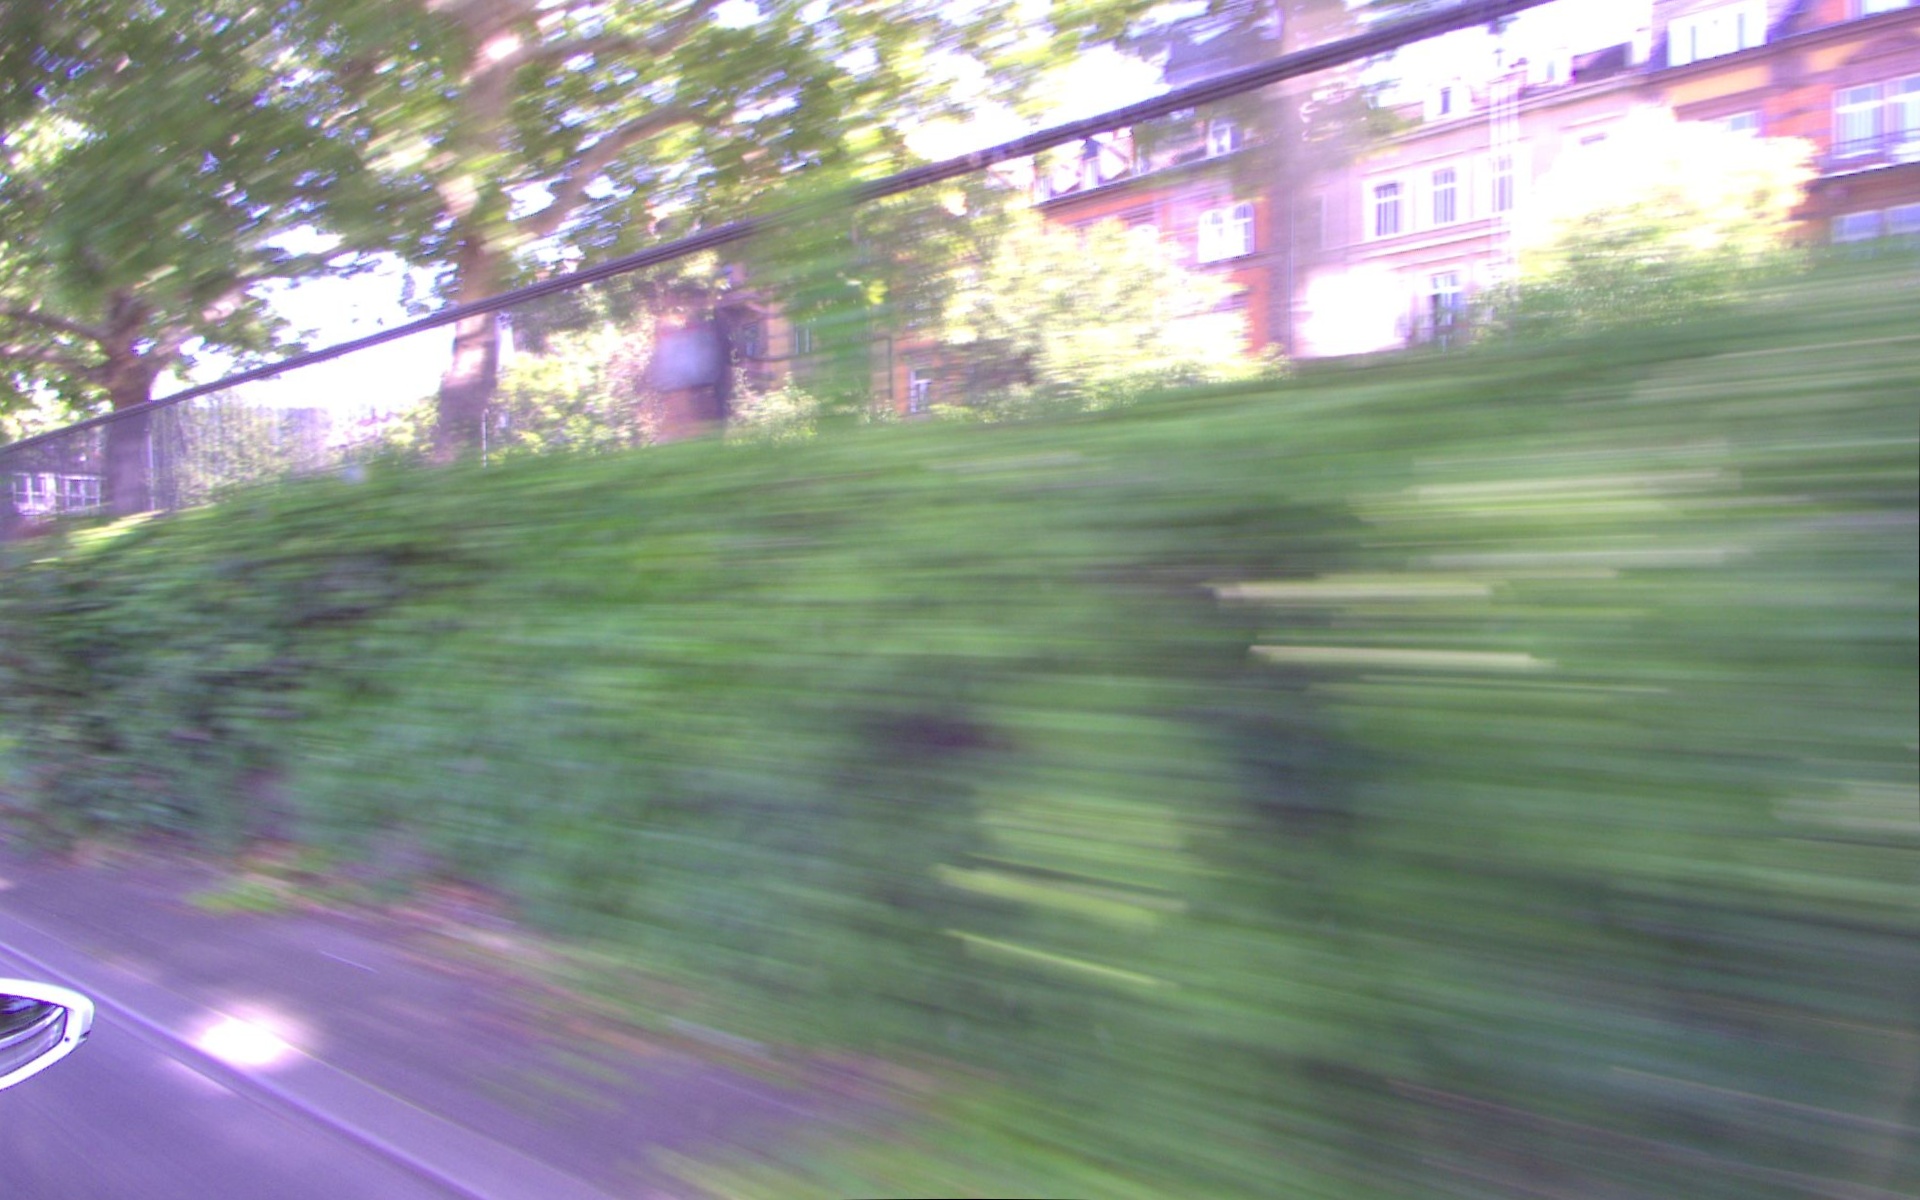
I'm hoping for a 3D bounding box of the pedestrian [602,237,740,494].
[{"bbox_3d":[-1.816,-1.433,6.333,0.579,1.438,0.584,0,1,24],"label":"pedestrian"}]

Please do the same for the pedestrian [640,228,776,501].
[{"bbox_3d":[-1.718,-1.555,6.872,0.616,1.662,0.647,0,1,24],"label":"pedestrian"}]
